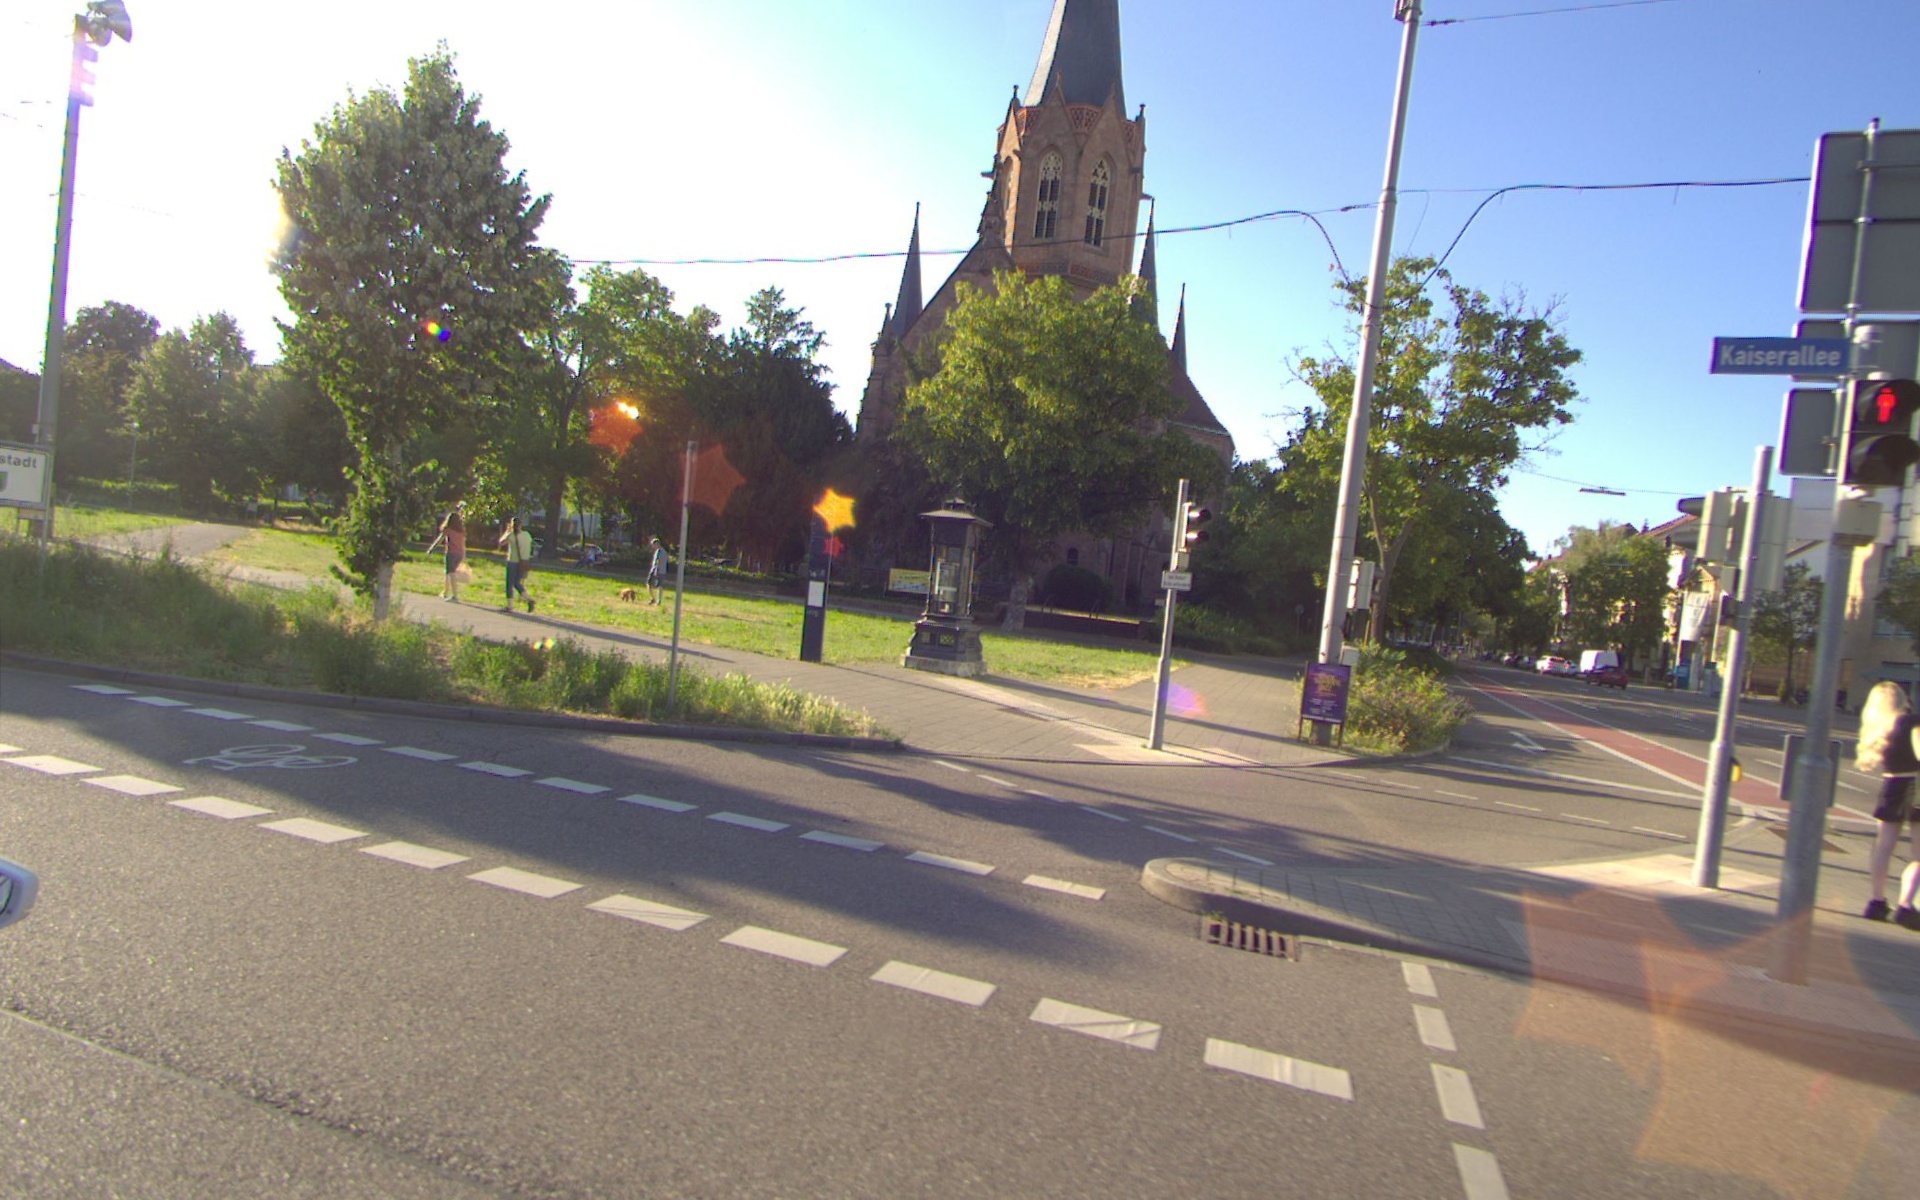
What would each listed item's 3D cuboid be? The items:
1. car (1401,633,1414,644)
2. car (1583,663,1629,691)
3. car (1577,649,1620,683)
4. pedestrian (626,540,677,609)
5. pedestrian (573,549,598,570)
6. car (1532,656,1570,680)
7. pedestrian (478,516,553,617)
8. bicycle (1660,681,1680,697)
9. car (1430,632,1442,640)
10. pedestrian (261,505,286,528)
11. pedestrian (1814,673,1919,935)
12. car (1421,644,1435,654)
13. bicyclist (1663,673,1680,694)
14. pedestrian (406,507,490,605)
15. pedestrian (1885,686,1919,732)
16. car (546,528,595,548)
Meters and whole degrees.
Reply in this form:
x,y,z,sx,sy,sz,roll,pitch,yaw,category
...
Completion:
x,y,z,sx,sy,sz,roll,pitch,yaw,category
83.344,7.220,187.436,1.857,1.692,3.997,8,1,20,car
44.174,5.247,68.891,1.644,1.481,3.997,8,1,20,car
53.770,5.548,84.747,1.963,2.472,3.997,8,2,20,car
-8.432,-0.692,27.470,0.838,1.718,1.004,5,3,-42,pedestrian
-19.398,-2.112,52.099,0.789,0.966,1.173,7,2,-1,pedestrian
50.566,5.825,86.197,1.887,1.628,4.267,8,1,20,car
-8.241,-0.612,18.652,0.879,1.718,0.709,8,2,22,pedestrian
51.718,6.485,73.257,0.583,0.955,1.976,9,2,20,bicycle
89.698,6.796,189.578,1.570,1.284,3.264,7,1,20,car
-40.859,-4.946,59.891,0.829,1.202,0.813,7,2,19,pedestrian
7.027,1.472,7.308,0.797,1.762,0.967,7,2,21,pedestrian
73.136,7.699,157.305,1.570,1.284,3.264,7,1,20,car
51.774,6.049,73.215,0.583,1.387,0.929,9,3,20,bicyclist
-9.795,-0.835,19.260,0.998,1.718,0.843,8,2,24,pedestrian
45.230,5.183,47.940,1.090,2.002,1.160,7,2,20,pedestrian
-42.115,-6.681,108.773,4.379,1.592,2.000,7,1,9,car
